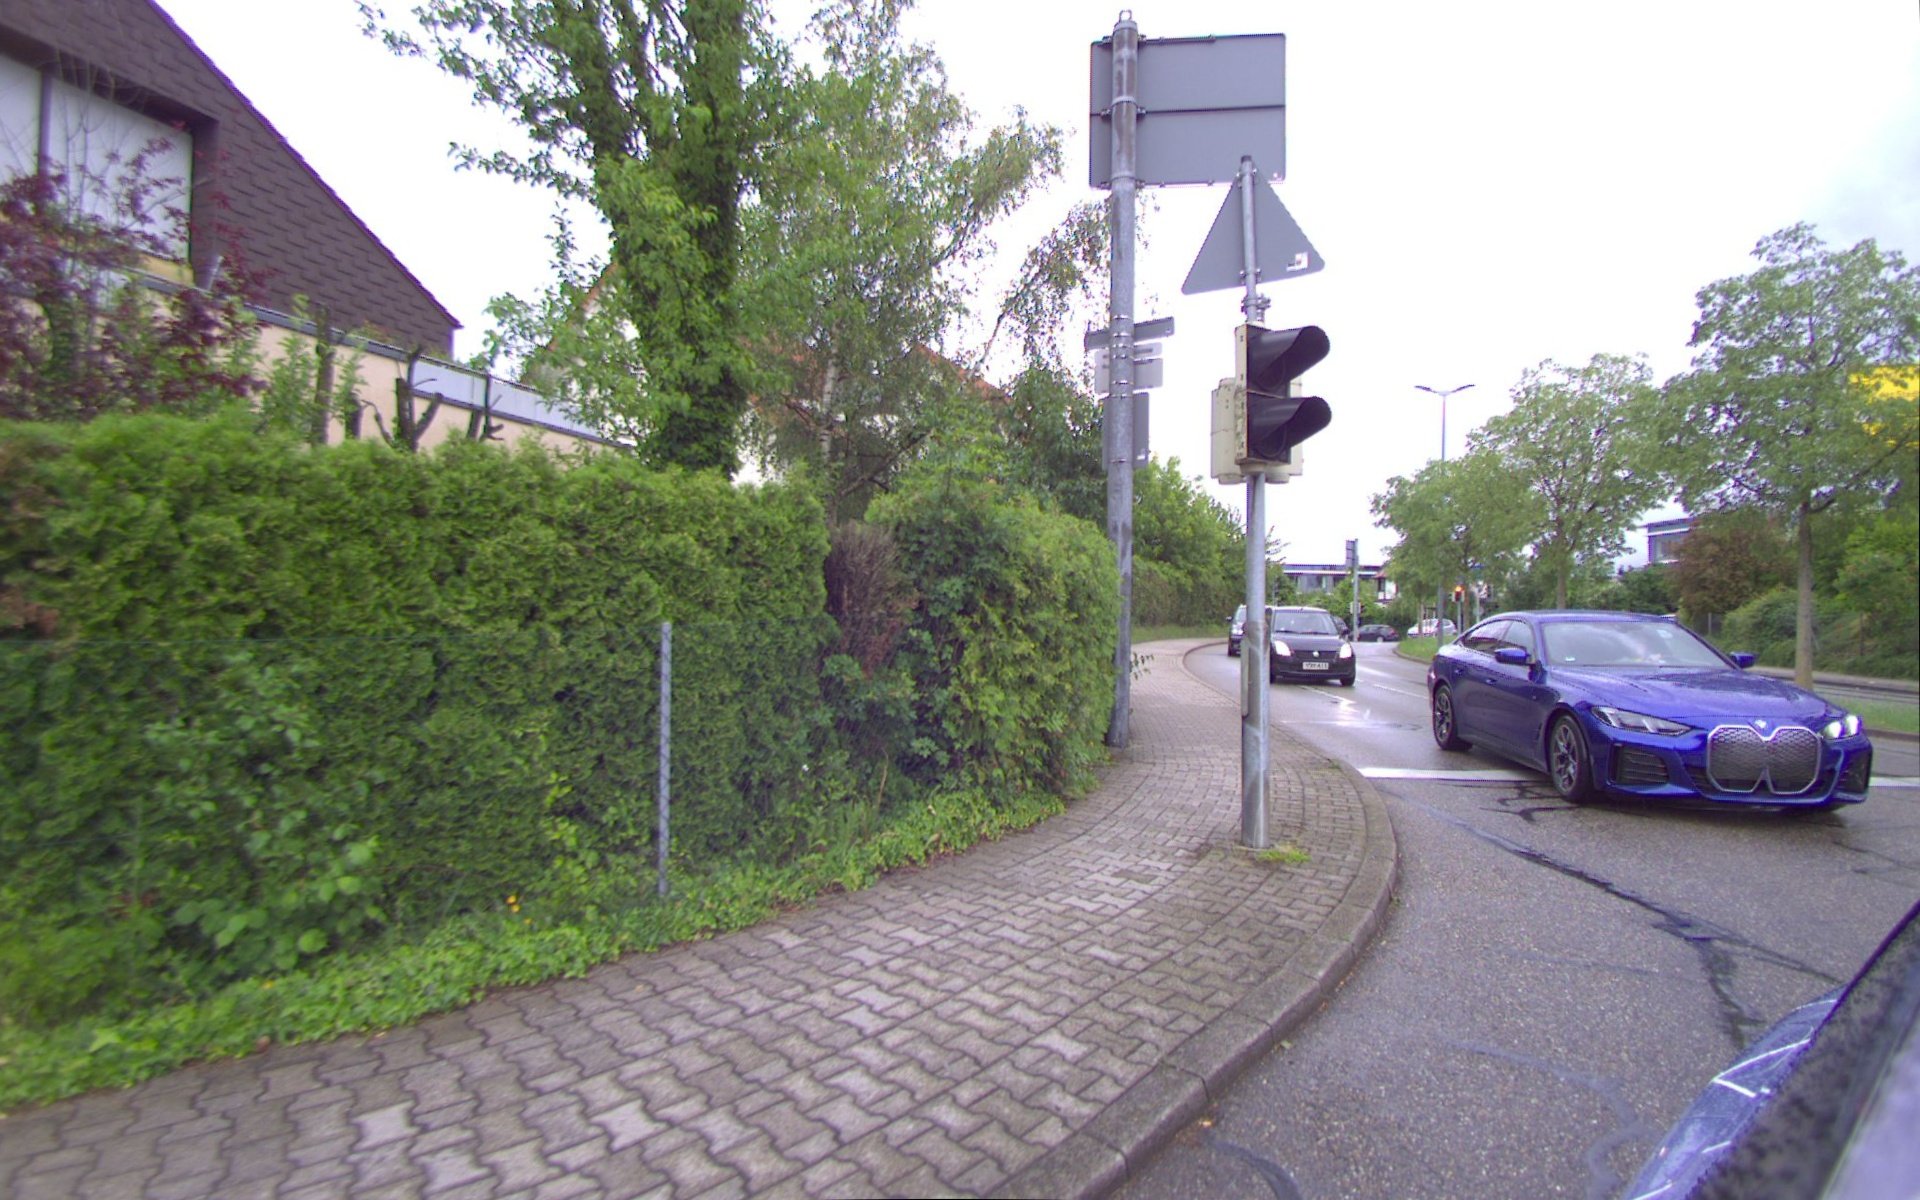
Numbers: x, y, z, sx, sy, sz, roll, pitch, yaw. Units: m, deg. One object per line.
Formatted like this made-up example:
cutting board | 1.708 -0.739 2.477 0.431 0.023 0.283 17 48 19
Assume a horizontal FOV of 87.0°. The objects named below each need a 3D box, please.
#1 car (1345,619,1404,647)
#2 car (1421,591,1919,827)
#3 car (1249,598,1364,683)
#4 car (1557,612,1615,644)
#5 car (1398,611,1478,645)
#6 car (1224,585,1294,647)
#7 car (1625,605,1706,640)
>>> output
car | 32.541 2.648 79.465 3.968 2.040 1.976 -3 -4 32
car | 5.692 0.712 8.781 1.883 1.515 4.338 -1 0 8
car | 7.020 0.765 20.843 1.720 1.538 3.985 1 0 12
car | 30.597 1.378 49.406 1.989 1.456 4.485 1 -1 38
car | 29.032 1.723 61.565 3.917 1.951 1.915 0 -4 -10
car | 9.539 0.589 32.418 1.941 1.773 4.283 -2 -4 16
car | 44.341 1.457 63.709 3.968 2.040 1.976 -3 -4 32
